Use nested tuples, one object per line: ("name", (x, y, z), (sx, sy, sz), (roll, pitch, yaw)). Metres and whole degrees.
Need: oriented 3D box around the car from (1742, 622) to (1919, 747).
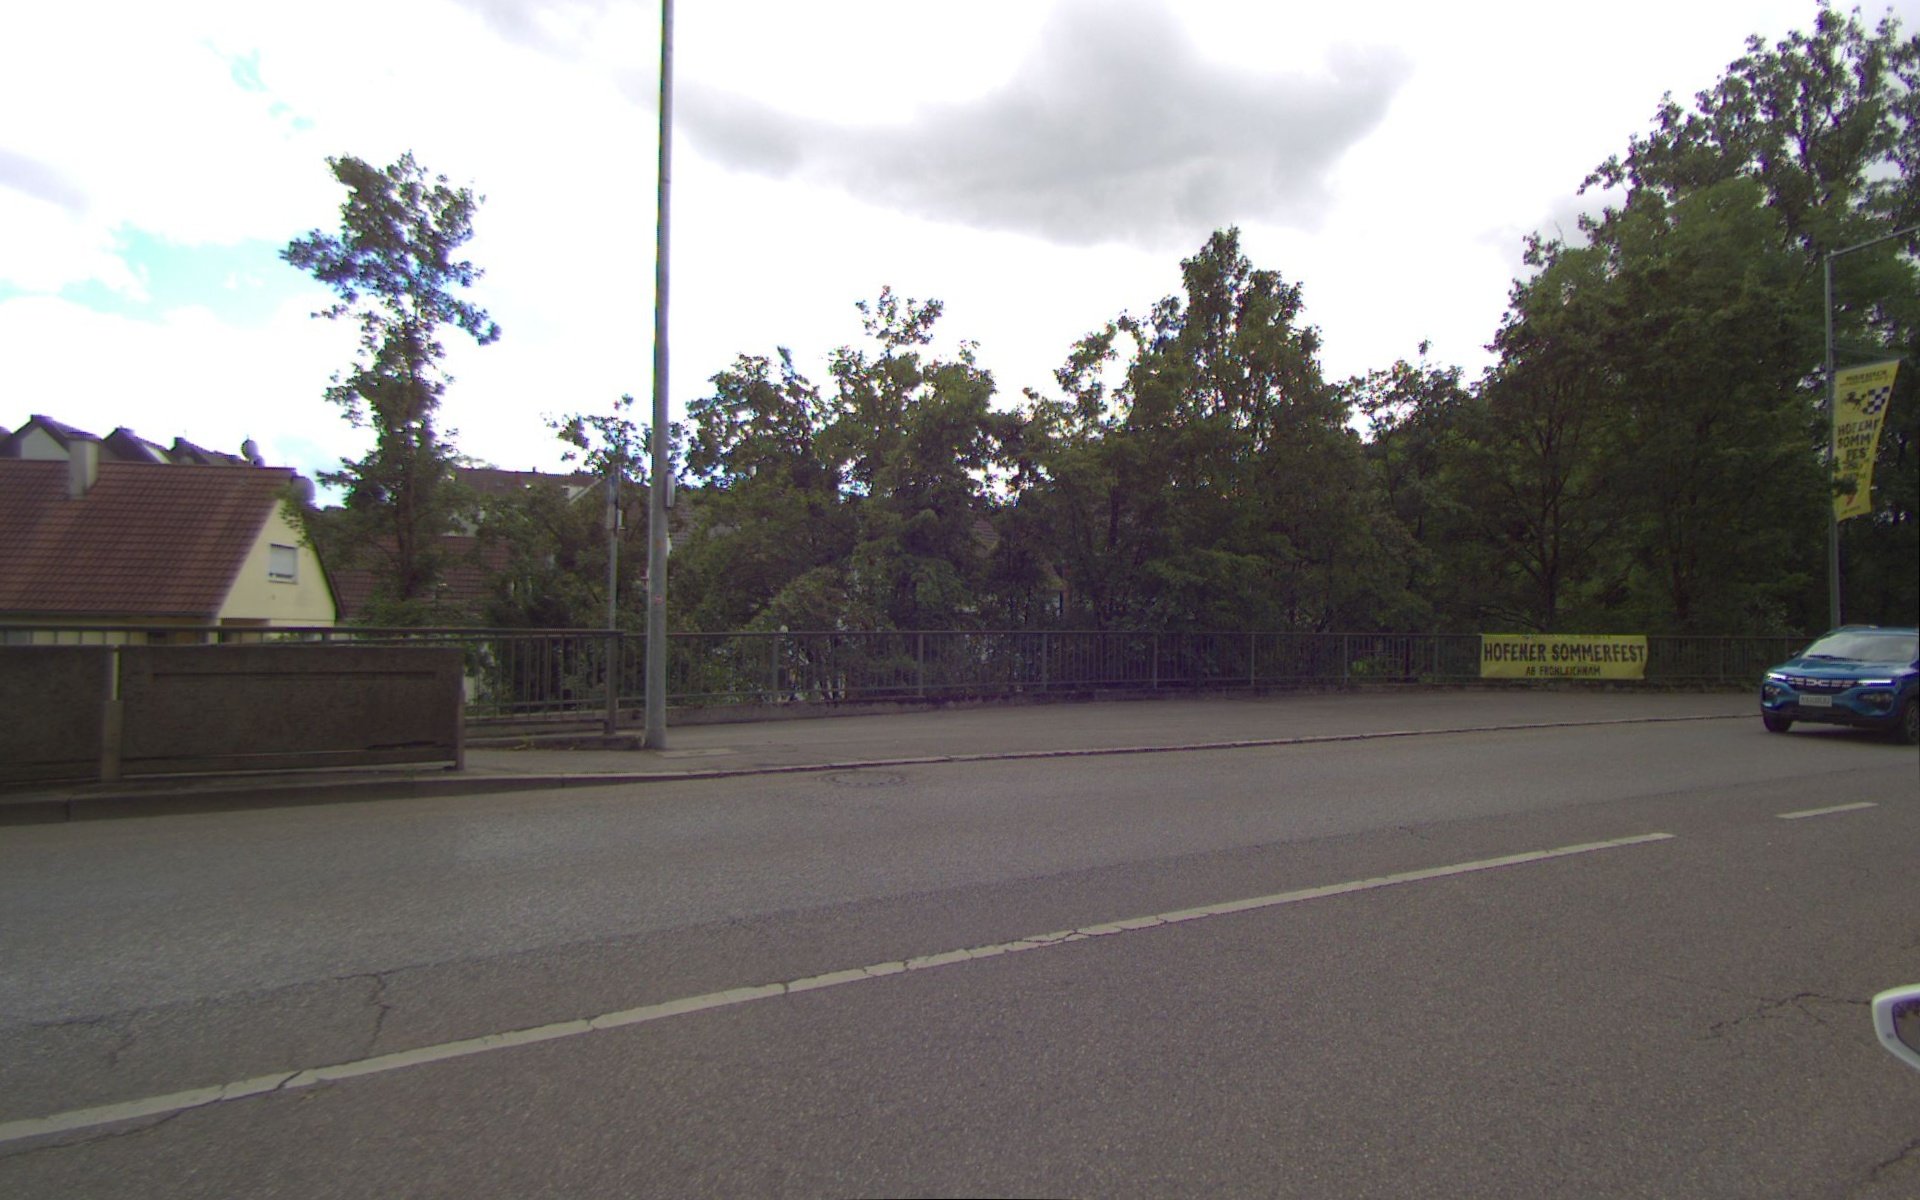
("car", (12.711, 1.091, 13.927), (3.649, 1.505, 1.574), (1, 0, -27))
